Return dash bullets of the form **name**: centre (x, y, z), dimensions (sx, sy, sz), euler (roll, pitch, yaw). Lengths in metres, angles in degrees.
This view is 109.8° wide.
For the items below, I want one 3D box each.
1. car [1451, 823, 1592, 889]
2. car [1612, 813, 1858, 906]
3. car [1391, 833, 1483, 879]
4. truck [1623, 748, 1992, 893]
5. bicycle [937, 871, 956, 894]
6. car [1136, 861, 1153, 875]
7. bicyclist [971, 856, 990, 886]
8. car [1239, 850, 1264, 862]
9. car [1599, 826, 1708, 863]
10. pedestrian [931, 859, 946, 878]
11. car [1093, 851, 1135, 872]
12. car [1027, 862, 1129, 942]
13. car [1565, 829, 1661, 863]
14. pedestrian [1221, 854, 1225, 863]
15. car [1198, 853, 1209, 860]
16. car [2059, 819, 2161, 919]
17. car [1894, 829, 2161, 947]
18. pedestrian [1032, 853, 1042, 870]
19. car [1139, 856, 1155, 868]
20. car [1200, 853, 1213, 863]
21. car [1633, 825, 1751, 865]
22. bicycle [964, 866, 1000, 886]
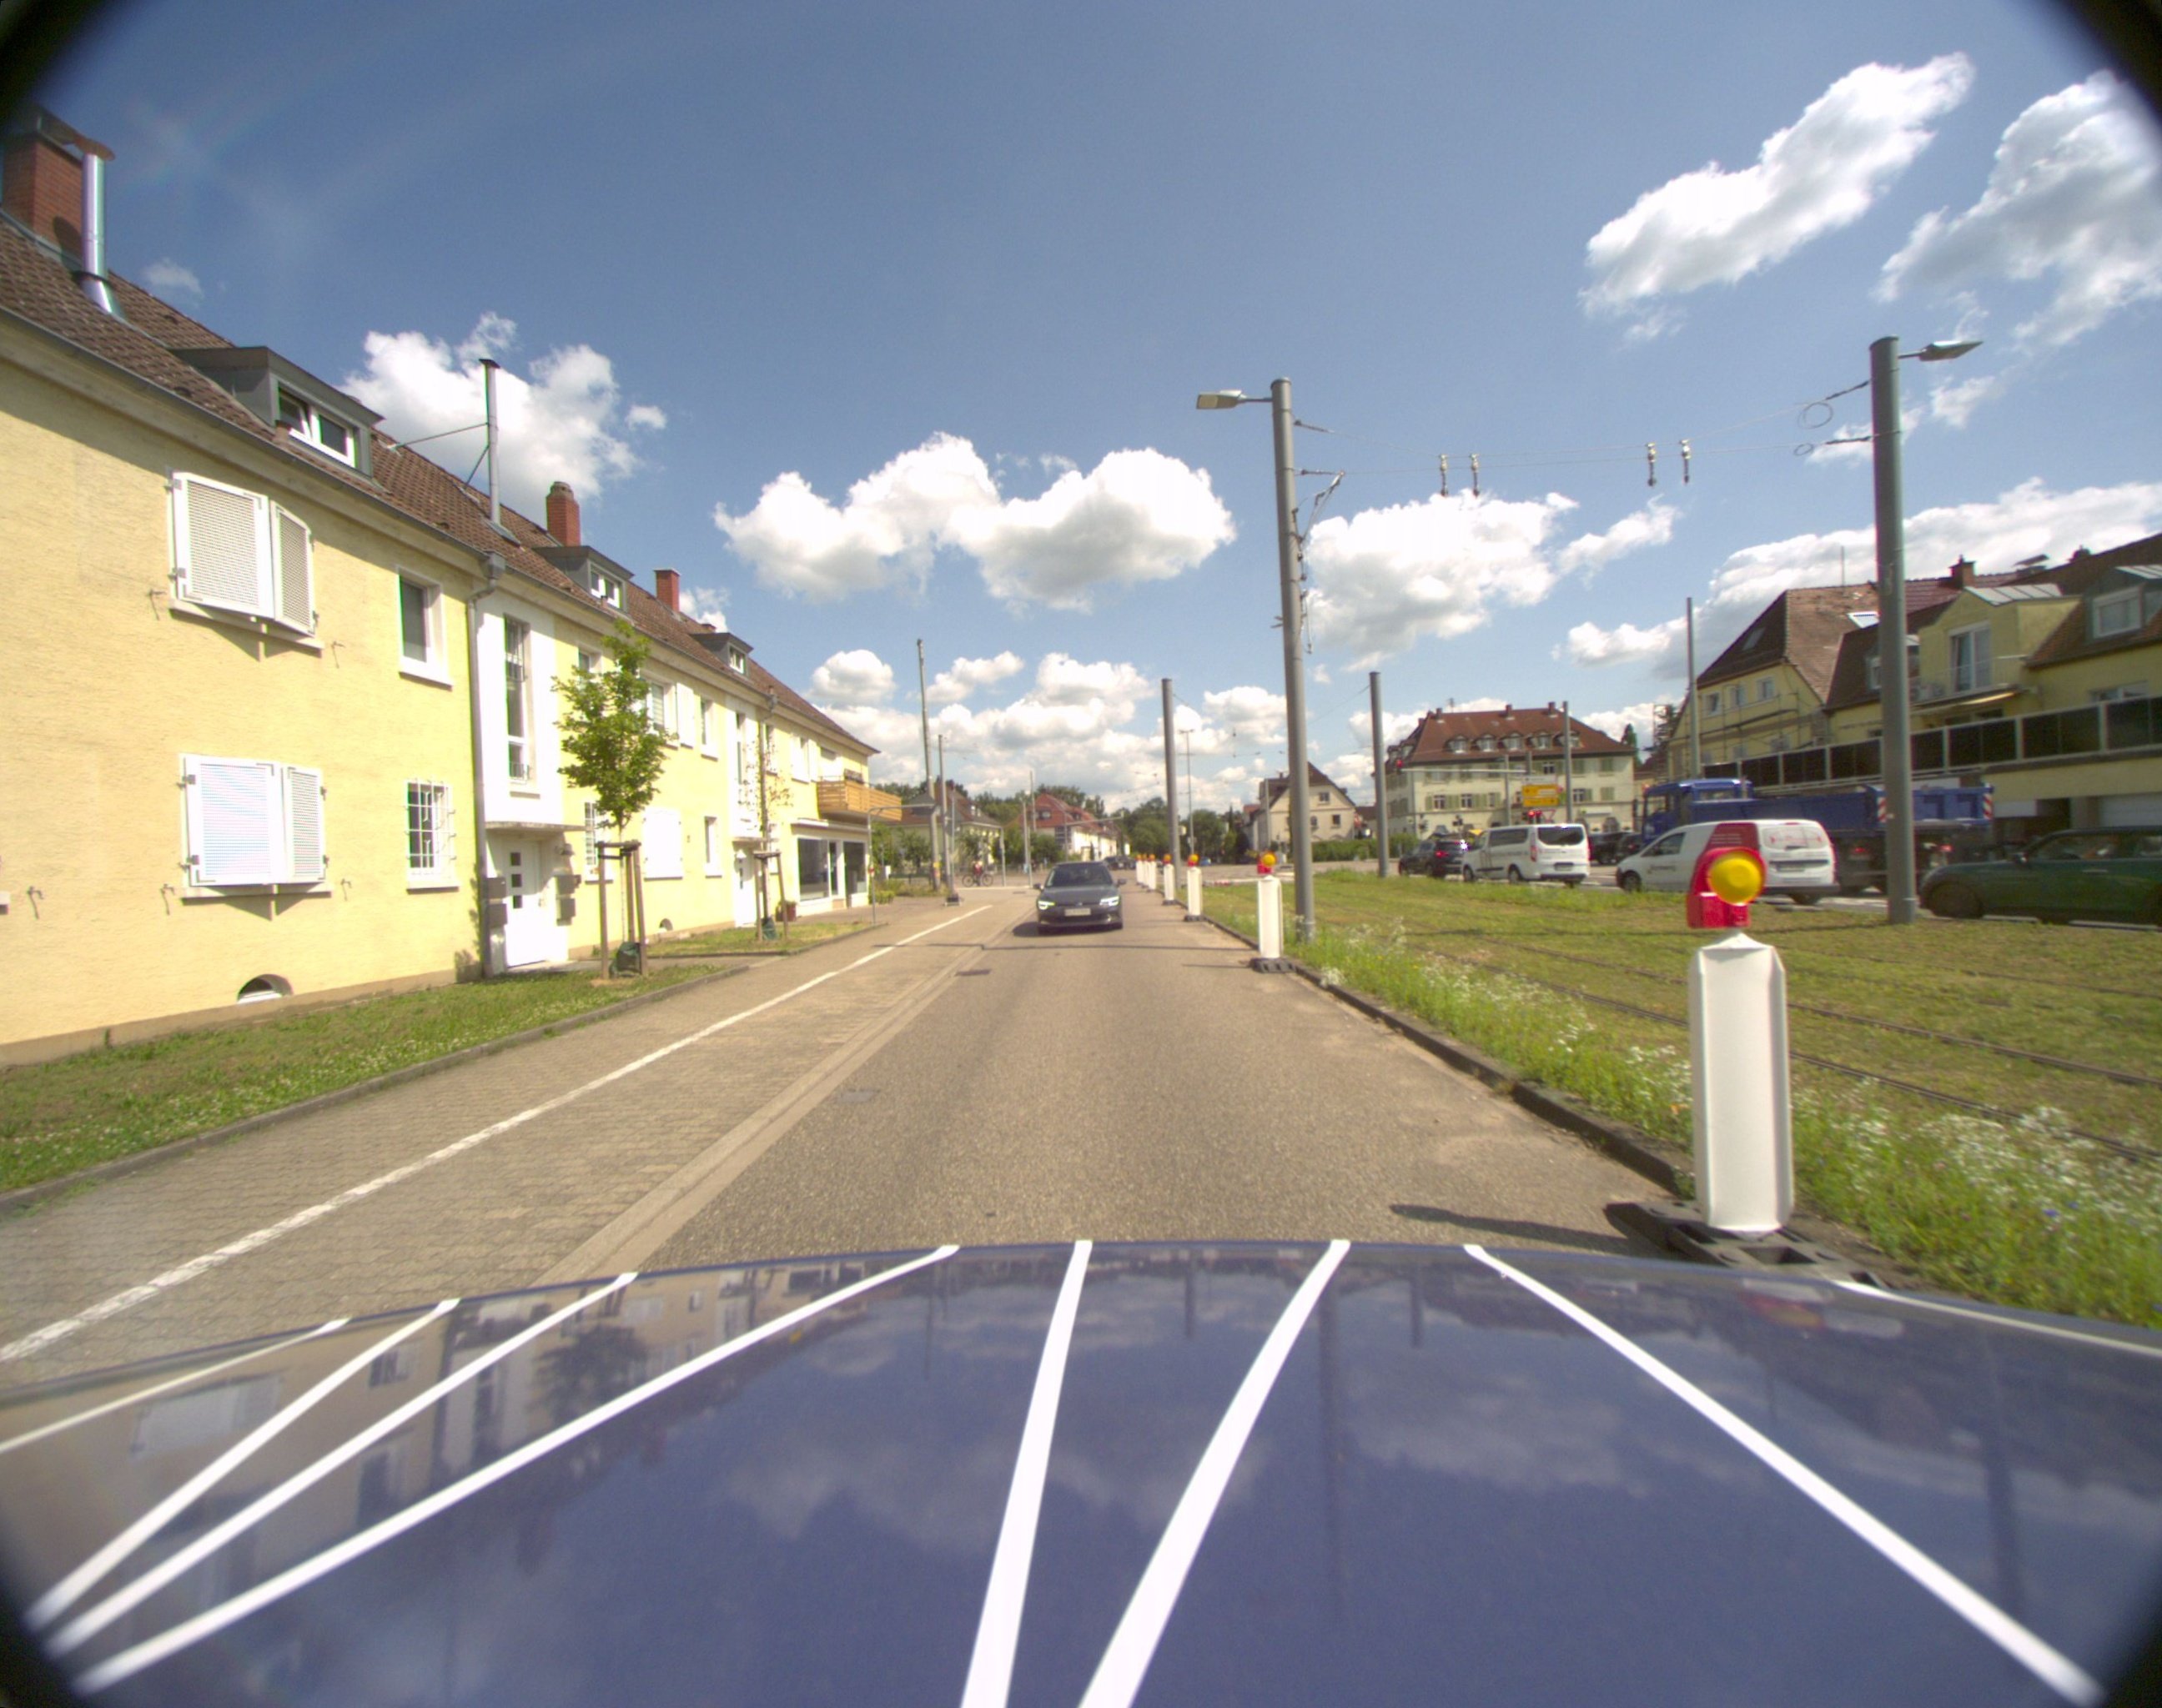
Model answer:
- **car**: centre (14.430, 0.057, 25.275), dimensions (1.819, 1.910, 4.748), euler (-2, 0, -1)
- **car**: centre (14.555, 0.106, 17.313), dimensions (1.737, 1.771, 4.404), euler (-2, 0, -1)
- **car**: centre (14.721, 0.110, 31.714), dimensions (1.791, 1.710, 4.442), euler (-2, -1, 1)
- **truck**: centre (19.075, -0.769, 20.904), dimensions (2.775, 3.170, 7.581), euler (-2, 0, -1)
- **bicycle**: centre (-6.712, 1.397, 37.773), dimensions (0.595, 1.090, 2.273), euler (-3, 0, -18)
- **car**: centre (7.039, 1.537, 84.050), dimensions (1.708, 1.453, 3.156), euler (-2, -1, 7)
- **bicyclist**: centre (-6.124, 1.046, 46.496), dimensions (0.961, 1.765, 0.718), euler (-3, 1, -18)
- **car**: centre (23.330, 0.268, 103.992), dimensions (1.757, 1.378, 4.110), euler (-3, -1, 38)
- **car**: centre (28.039, -0.450, 37.254), dimensions (4.145, 1.484, 1.507), euler (-4, 0, 0)
- **pedestrian**: centre (-13.002, 1.319, 69.358), dimensions (1.032, 1.724, 1.041), euler (-2, 0, 4)
- **car**: centre (3.356, 0.696, 76.395), dimensions (1.773, 1.754, 4.882), euler (-3, 2, 34)
- **car**: centre (0.088, 0.966, 17.168), dimensions (1.765, 1.465, 4.689), euler (-2, 0, 6)
- **car**: centre (27.935, -0.418, 39.970), dimensions (4.145, 1.484, 1.179), euler (-4, 0, 0)
- **pedestrian**: centre (24.505, 0.718, 131.263), dimensions (0.631, 1.526, 0.618), euler (-2, 0, 9)
- **car**: centre (21.455, 0.446, 132.704), dimensions (1.708, 1.288, 3.921), euler (-2, -1, 11)
- **car**: centre (18.961, 0.232, 11.805), dimensions (1.848, 1.650, 4.438), euler (-2, 0, 2)
- **car**: centre (14.192, 0.398, 10.351), dimensions (1.920, 1.410, 3.999), euler (-2, 0, 0)
- **pedestrian**: centre (-4.726, 0.835, 81.690), dimensions (0.939, 1.757, 0.591), euler (-2, 0, -36)
- **car**: centre (8.484, 0.991, 97.393), dimensions (1.708, 1.453, 3.157), euler (-2, -1, 8)
- **car**: centre (18.986, 0.651, 115.234), dimensions (1.708, 1.453, 3.156), euler (-2, -1, 7)
- **car**: centre (27.727, -0.418, 34.559), dimensions (4.145, 1.484, 1.435), euler (-4, 0, 0)
- **bicycle**: centre (-6.035, 1.321, 46.530), dimensions (2.035, 1.095, 0.714), euler (-3, 1, -19)
